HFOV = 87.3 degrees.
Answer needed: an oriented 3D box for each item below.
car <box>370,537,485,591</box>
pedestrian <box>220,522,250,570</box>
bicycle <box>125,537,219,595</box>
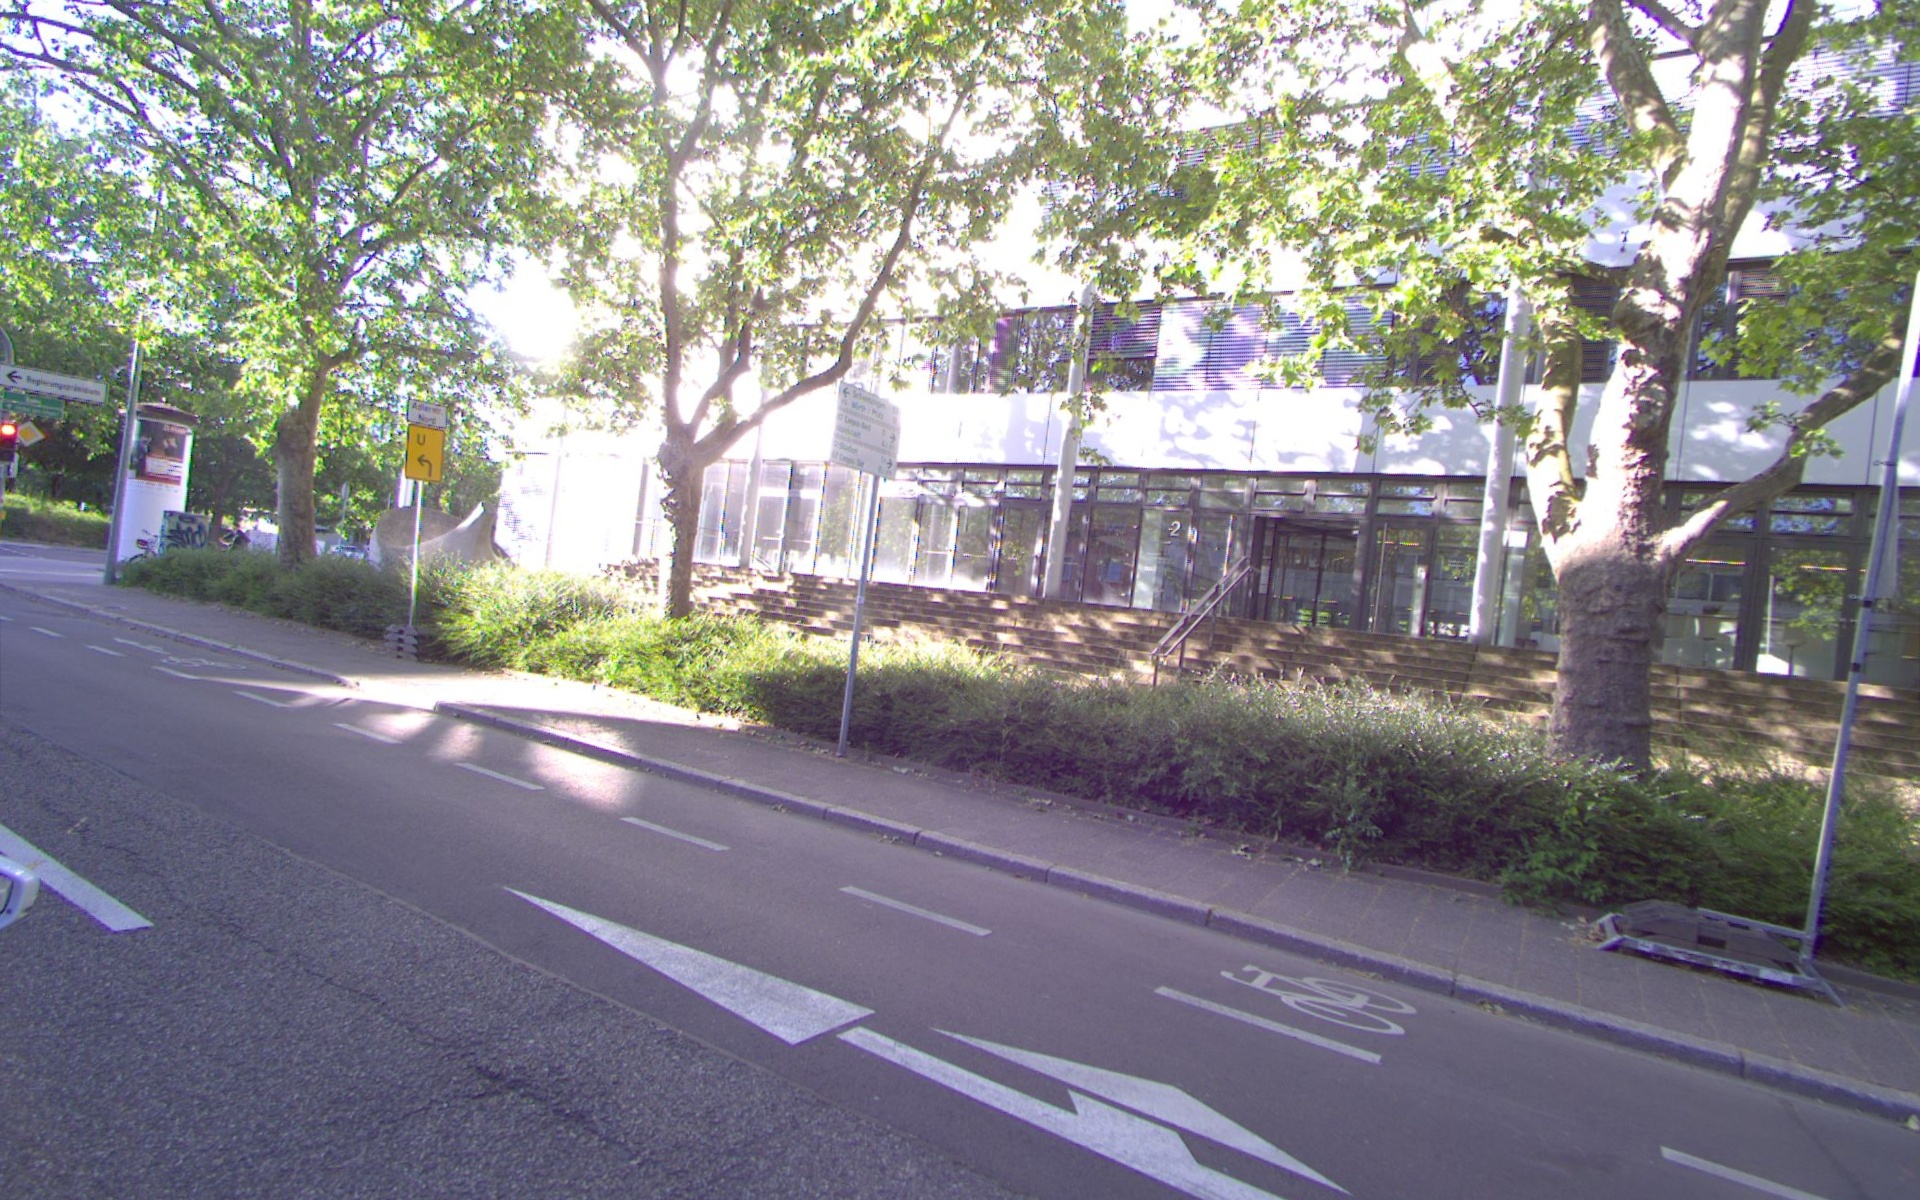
[{"bbox_3d":[-23.937,-1.617,45.360,1.969,1.805,3.998,7,-2,37],"label":"car"},{"bbox_3d":[-29.250,-2.180,40.600,0.620,1.805,0.620,7,0,34],"label":"pedestrian"},{"bbox_3d":[-17.017,-0.728,21.748,0.529,1.049,1.418,7,-1,28],"label":"bicycle"}]
